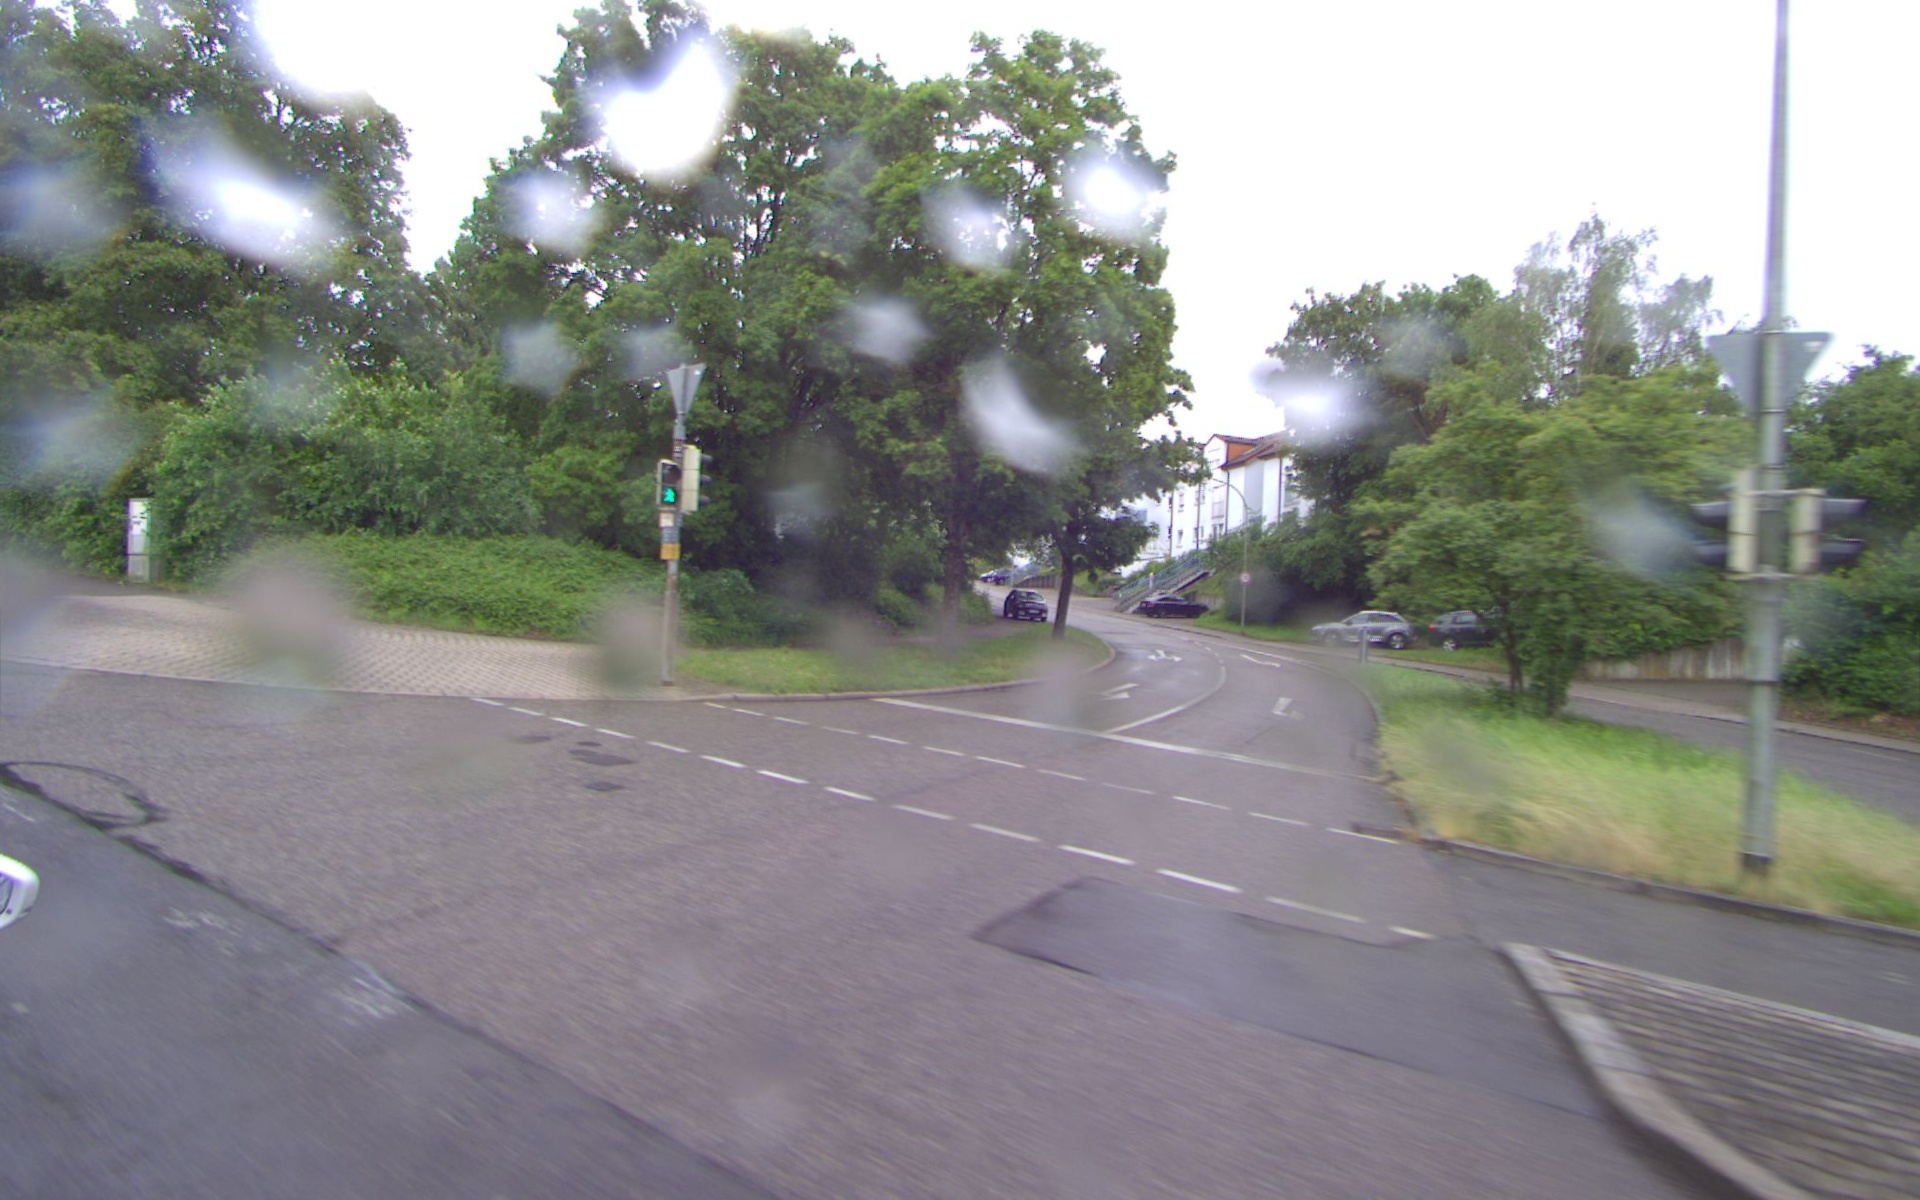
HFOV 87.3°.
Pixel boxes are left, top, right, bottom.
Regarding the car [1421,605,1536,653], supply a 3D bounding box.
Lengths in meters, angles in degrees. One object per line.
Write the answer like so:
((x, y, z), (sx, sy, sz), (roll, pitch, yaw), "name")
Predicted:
((19.366, 1.068, 37.676), (1.621, 1.586, 3.427), (6, -3, -34), "car")

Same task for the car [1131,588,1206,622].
((12.914, 0.290, 62.408), (3.935, 1.669, 1.951), (6, 1, -13), "car")

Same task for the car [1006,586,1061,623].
((3.788, 0.248, 51.267), (1.794, 1.591, 3.998), (6, 1, 17), "car")

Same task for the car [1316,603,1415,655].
((18.481, 1.299, 46.087), (3.925, 1.924, 1.956), (6, 2, 19), "car")
